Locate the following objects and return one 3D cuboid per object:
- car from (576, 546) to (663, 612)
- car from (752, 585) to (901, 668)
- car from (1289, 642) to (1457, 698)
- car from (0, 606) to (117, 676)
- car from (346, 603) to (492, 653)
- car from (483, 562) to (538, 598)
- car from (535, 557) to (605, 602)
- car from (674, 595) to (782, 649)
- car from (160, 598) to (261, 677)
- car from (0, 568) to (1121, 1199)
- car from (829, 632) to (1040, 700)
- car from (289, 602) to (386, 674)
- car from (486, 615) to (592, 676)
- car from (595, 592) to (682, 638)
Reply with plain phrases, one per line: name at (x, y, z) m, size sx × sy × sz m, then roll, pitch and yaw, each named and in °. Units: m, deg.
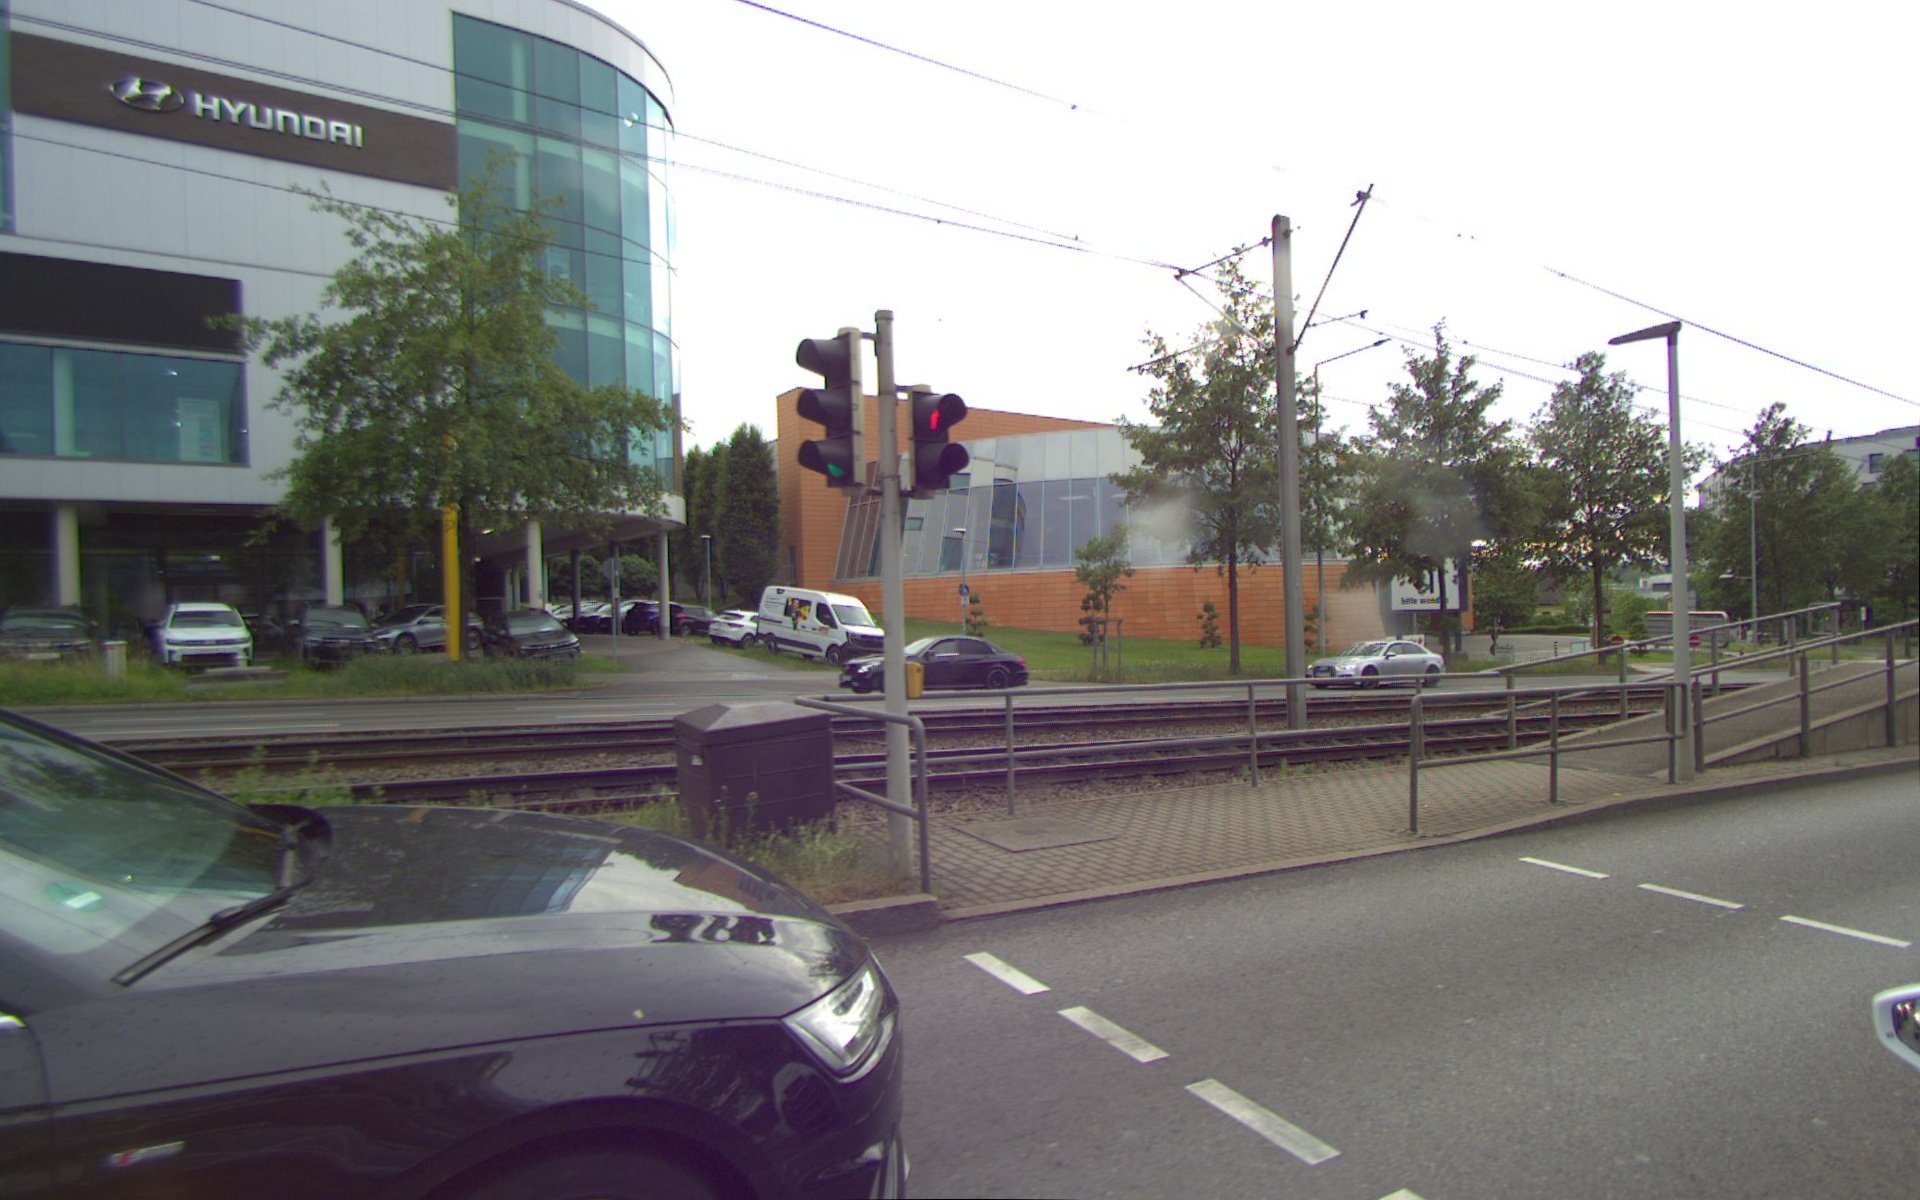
car at (-18.601, -1.119, 54.719) m, size 2.972 × 3.315 × 5.429 m, roll 2°, pitch 0°, yaw -36°
car at (-4.773, 0.864, 35.418) m, size 5.407 × 2.664 × 2.266 m, roll 2°, pitch 0°, yaw 43°
car at (11.955, 1.976, 29.016) m, size 4.817 × 1.407 × 1.984 m, roll 2°, pitch 0°, yaw -30°
car at (-21.322, 0.905, 23.757) m, size 1.806 × 1.510 × 3.959 m, roll 1°, pitch -1°, yaw -36°
car at (-17.407, 0.875, 32.524) m, size 1.737 × 1.489 × 3.999 m, roll 1°, pitch -1°, yaw 21°
car at (-34.044, -1.482, 76.025) m, size 2.721 × 2.528 × 5.429 m, roll 2°, pitch 0°, yaw -35°
car at (-23.940, -1.247, 61.521) m, size 2.721 × 2.528 × 5.429 m, roll 2°, pitch 0°, yaw -35°
car at (-9.303, 0.827, 39.915) m, size 2.257 × 1.952 × 5.429 m, roll 2°, pitch 0°, yaw -35°
car at (-18.948, 0.885, 25.472) m, size 1.904 × 1.684 × 3.958 m, roll 1°, pitch 1°, yaw -36°
car at (-2.183, 0.681, 1.530) m, size 4.772 × 1.453 × 1.781 m, roll 1°, pitch -1°, yaw -30°
car at (-0.582, 1.575, 24.577) m, size 4.817 × 1.455 × 1.984 m, roll 2°, pitch 0°, yaw -30°
car at (-16.778, 0.962, 26.990) m, size 1.904 × 1.684 × 3.958 m, roll 1°, pitch 1°, yaw -36°
car at (-12.306, 1.277, 29.229) m, size 1.880 × 1.528 × 3.957 m, roll 2°, pitch 0°, yaw -38°
car at (-15.015, 0.645, 46.717) m, size 2.257 × 1.952 × 5.429 m, roll 2°, pitch 0°, yaw -35°
